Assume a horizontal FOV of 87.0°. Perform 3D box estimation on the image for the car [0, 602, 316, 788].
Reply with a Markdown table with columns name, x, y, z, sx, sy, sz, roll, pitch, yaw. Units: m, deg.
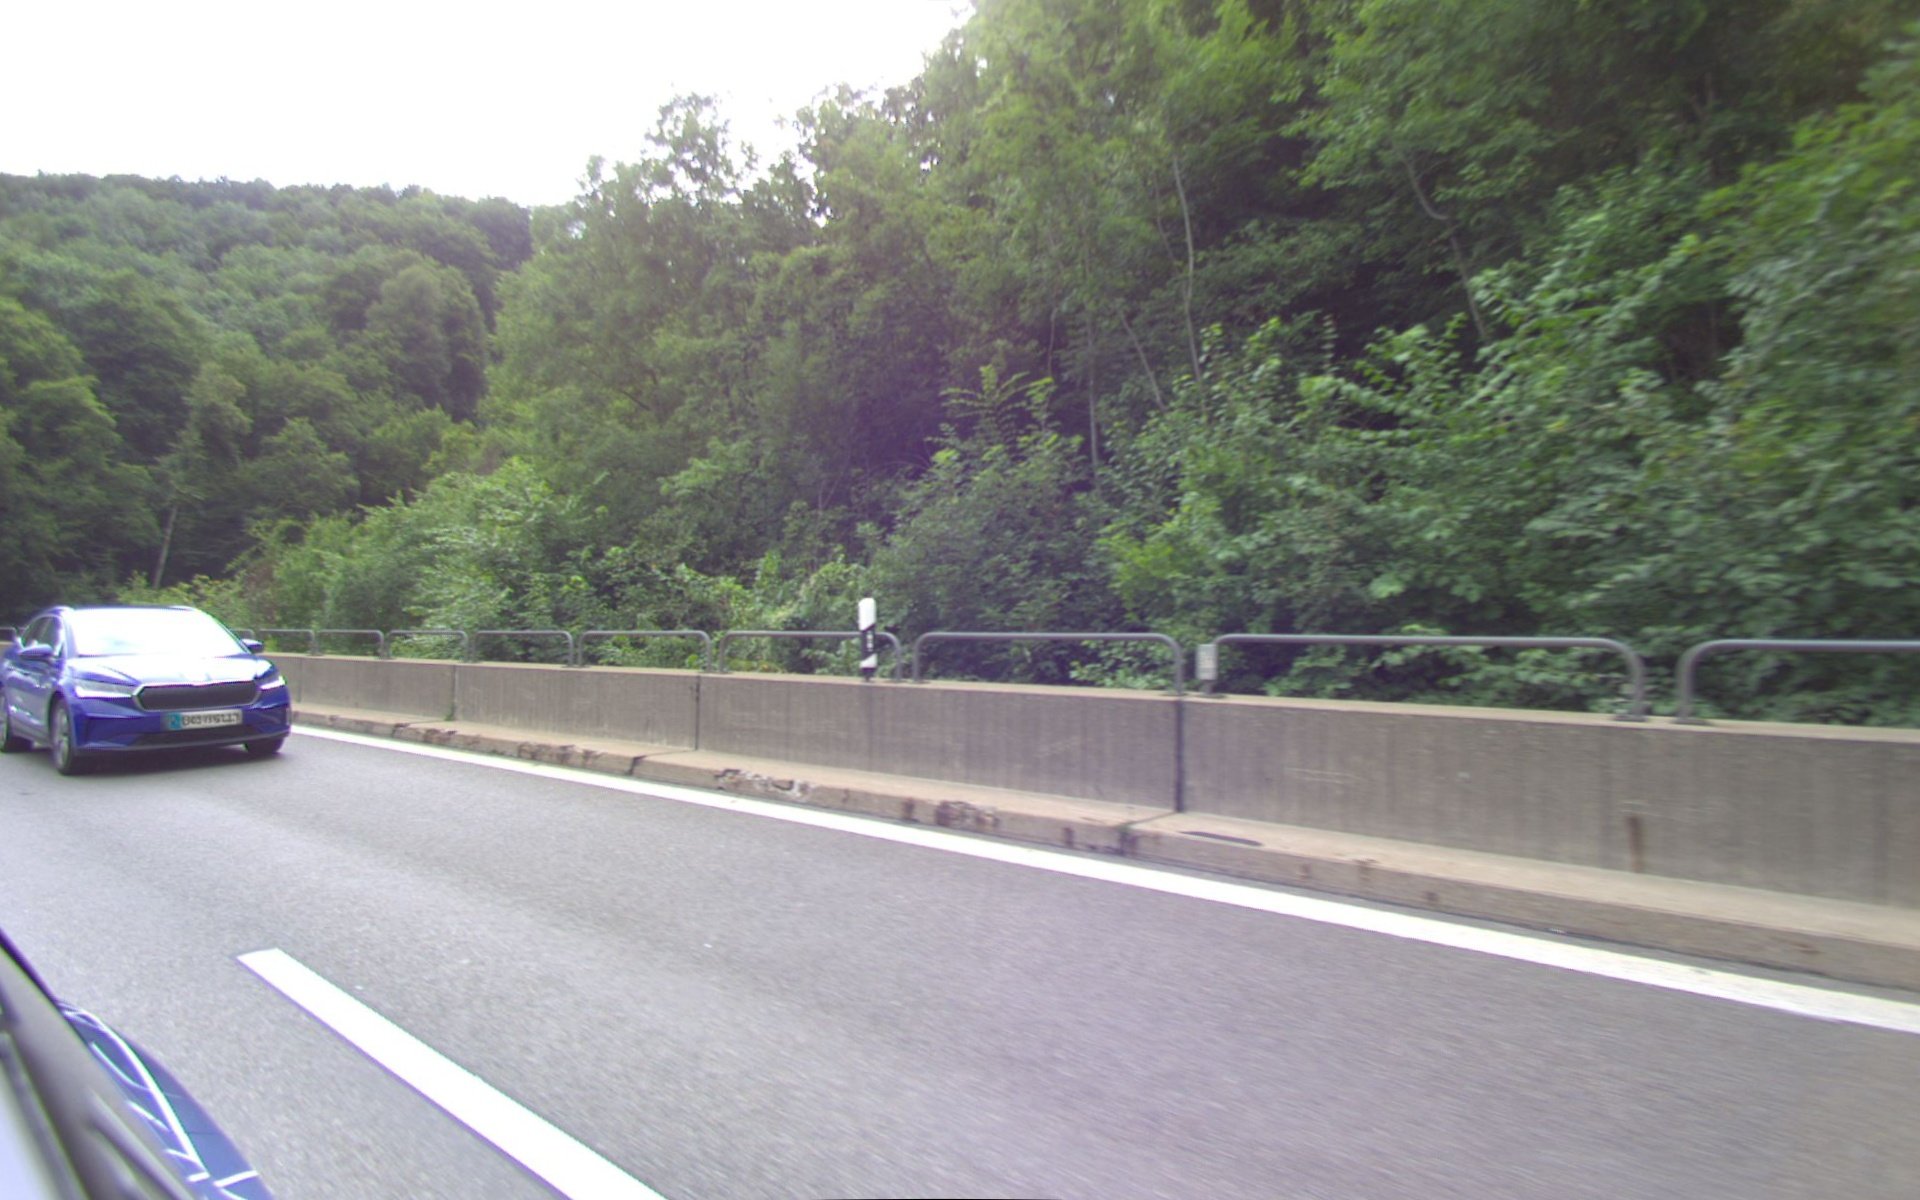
| name | x | y | z | sx | sy | sz | roll | pitch | yaw |
| --- | --- | --- | --- | --- | --- | --- | --- | --- | --- |
| car | -9.272 | 0.886 | 11.244 | 5.000 | 1.644 | 1.975 | -1 | -1 | 37 |
